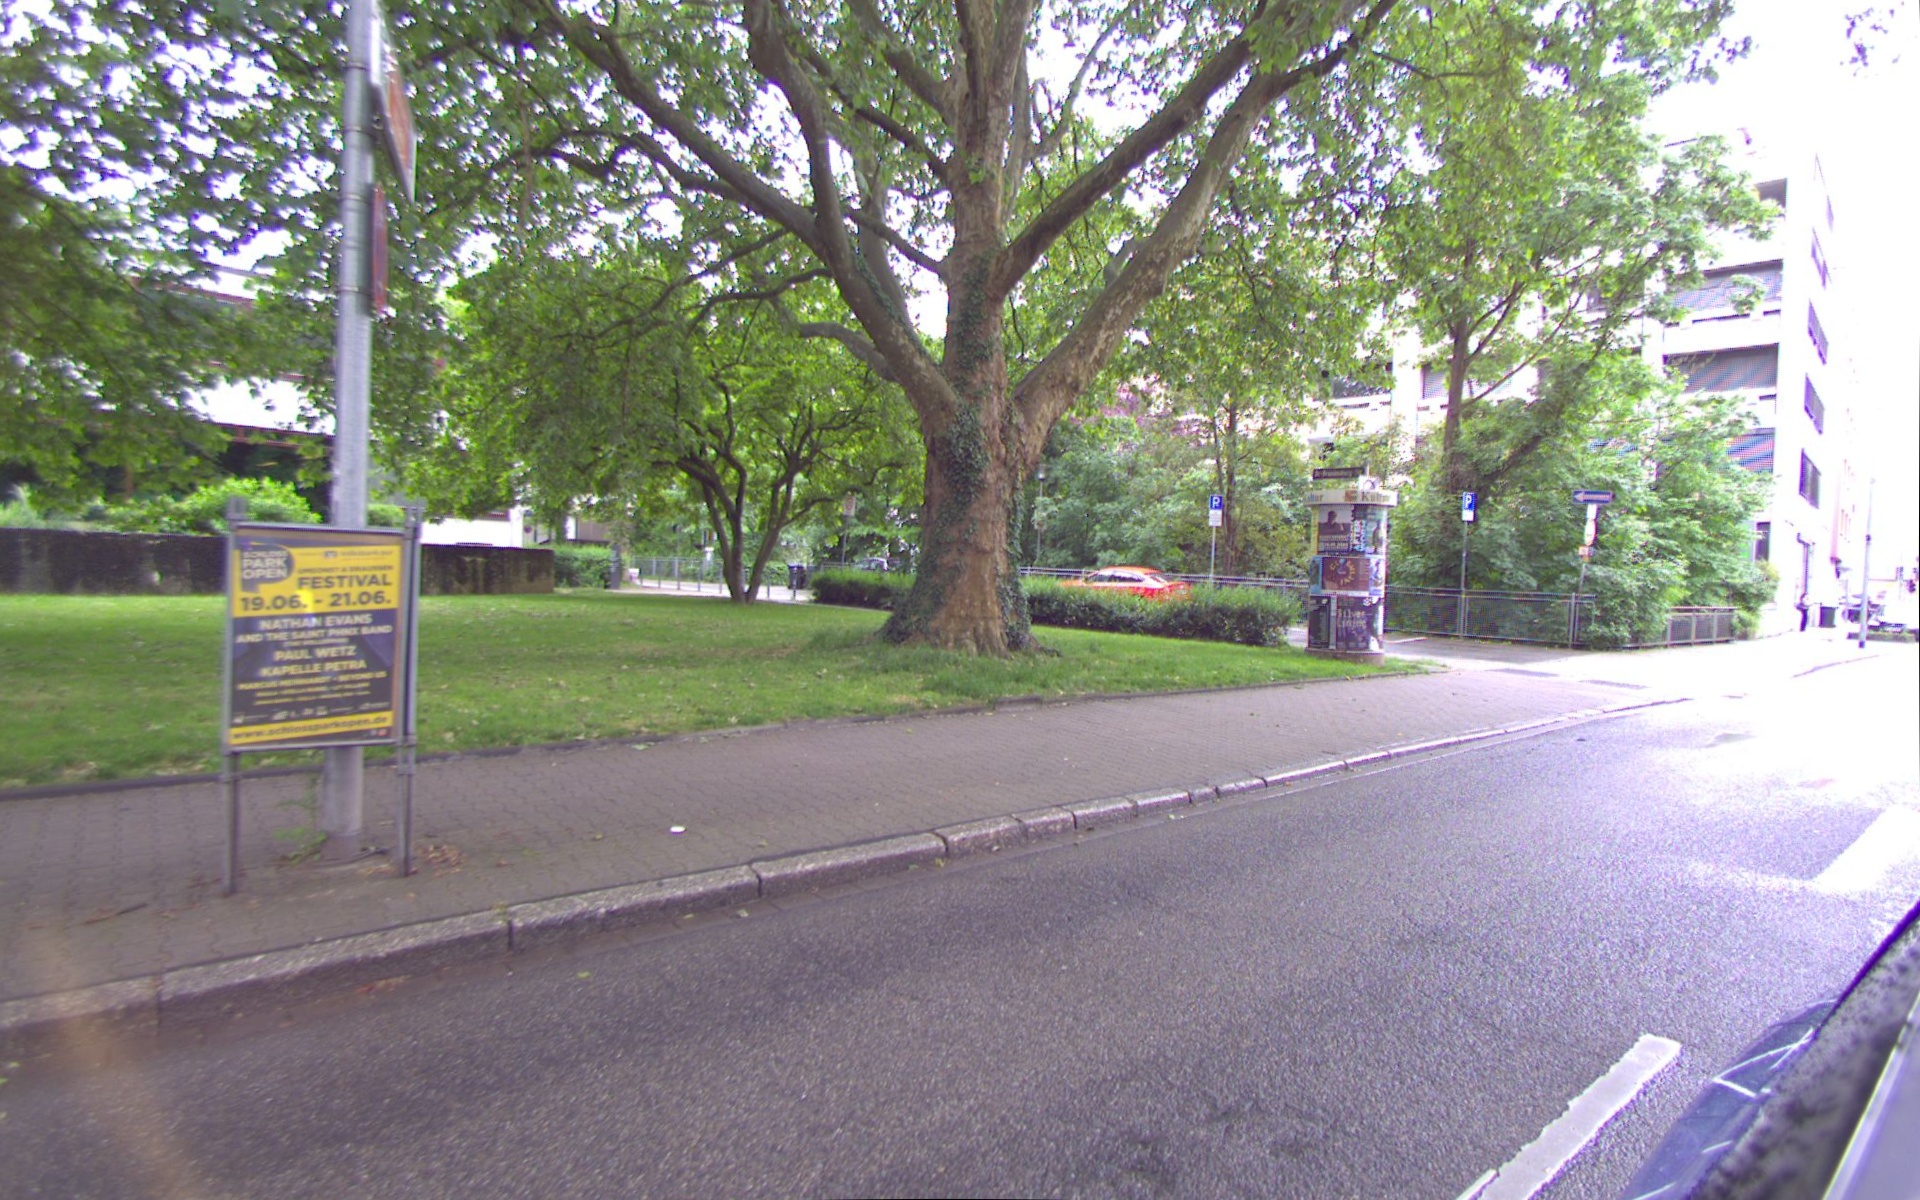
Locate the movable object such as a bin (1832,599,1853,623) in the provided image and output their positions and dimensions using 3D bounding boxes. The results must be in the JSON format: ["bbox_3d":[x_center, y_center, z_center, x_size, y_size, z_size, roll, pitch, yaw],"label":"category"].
[{"bbox_3d":[42.111,0.511,48.311,0.505,1.117,0.680,1,2,-42],"label":"movable object such as a bin"}]

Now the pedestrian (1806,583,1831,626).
[{"bbox_3d":[34.782,0.179,40.995,0.598,1.679,0.681,7,4,42],"label":"pedestrian"}]

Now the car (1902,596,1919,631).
[{"bbox_3d":[42.707,0.626,44.249,4.493,1.437,1.834,0,3,-43],"label":"car"}]

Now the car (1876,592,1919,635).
[{"bbox_3d":[37.444,0.522,39.802,3.741,1.577,1.705,0,4,-43],"label":"car"}]

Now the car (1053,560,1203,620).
[{"bbox_3d":[4.872,-0.352,29.685,3.989,1.499,1.847,5,4,44],"label":"car"}]

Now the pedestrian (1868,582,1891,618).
[{"bbox_3d":[56.521,0.010,62.234,0.797,2.179,0.732,2,1,26],"label":"pedestrian"}]

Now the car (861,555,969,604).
[{"bbox_3d":[-1.696,-0.758,36.830,1.707,1.590,3.925,0,3,-45],"label":"car"}]

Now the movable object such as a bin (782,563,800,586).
[{"bbox_3d":[-7.196,-1.083,43.131,0.573,0.986,0.512,0,0,-41],"label":"movable object such as a bin"}]
